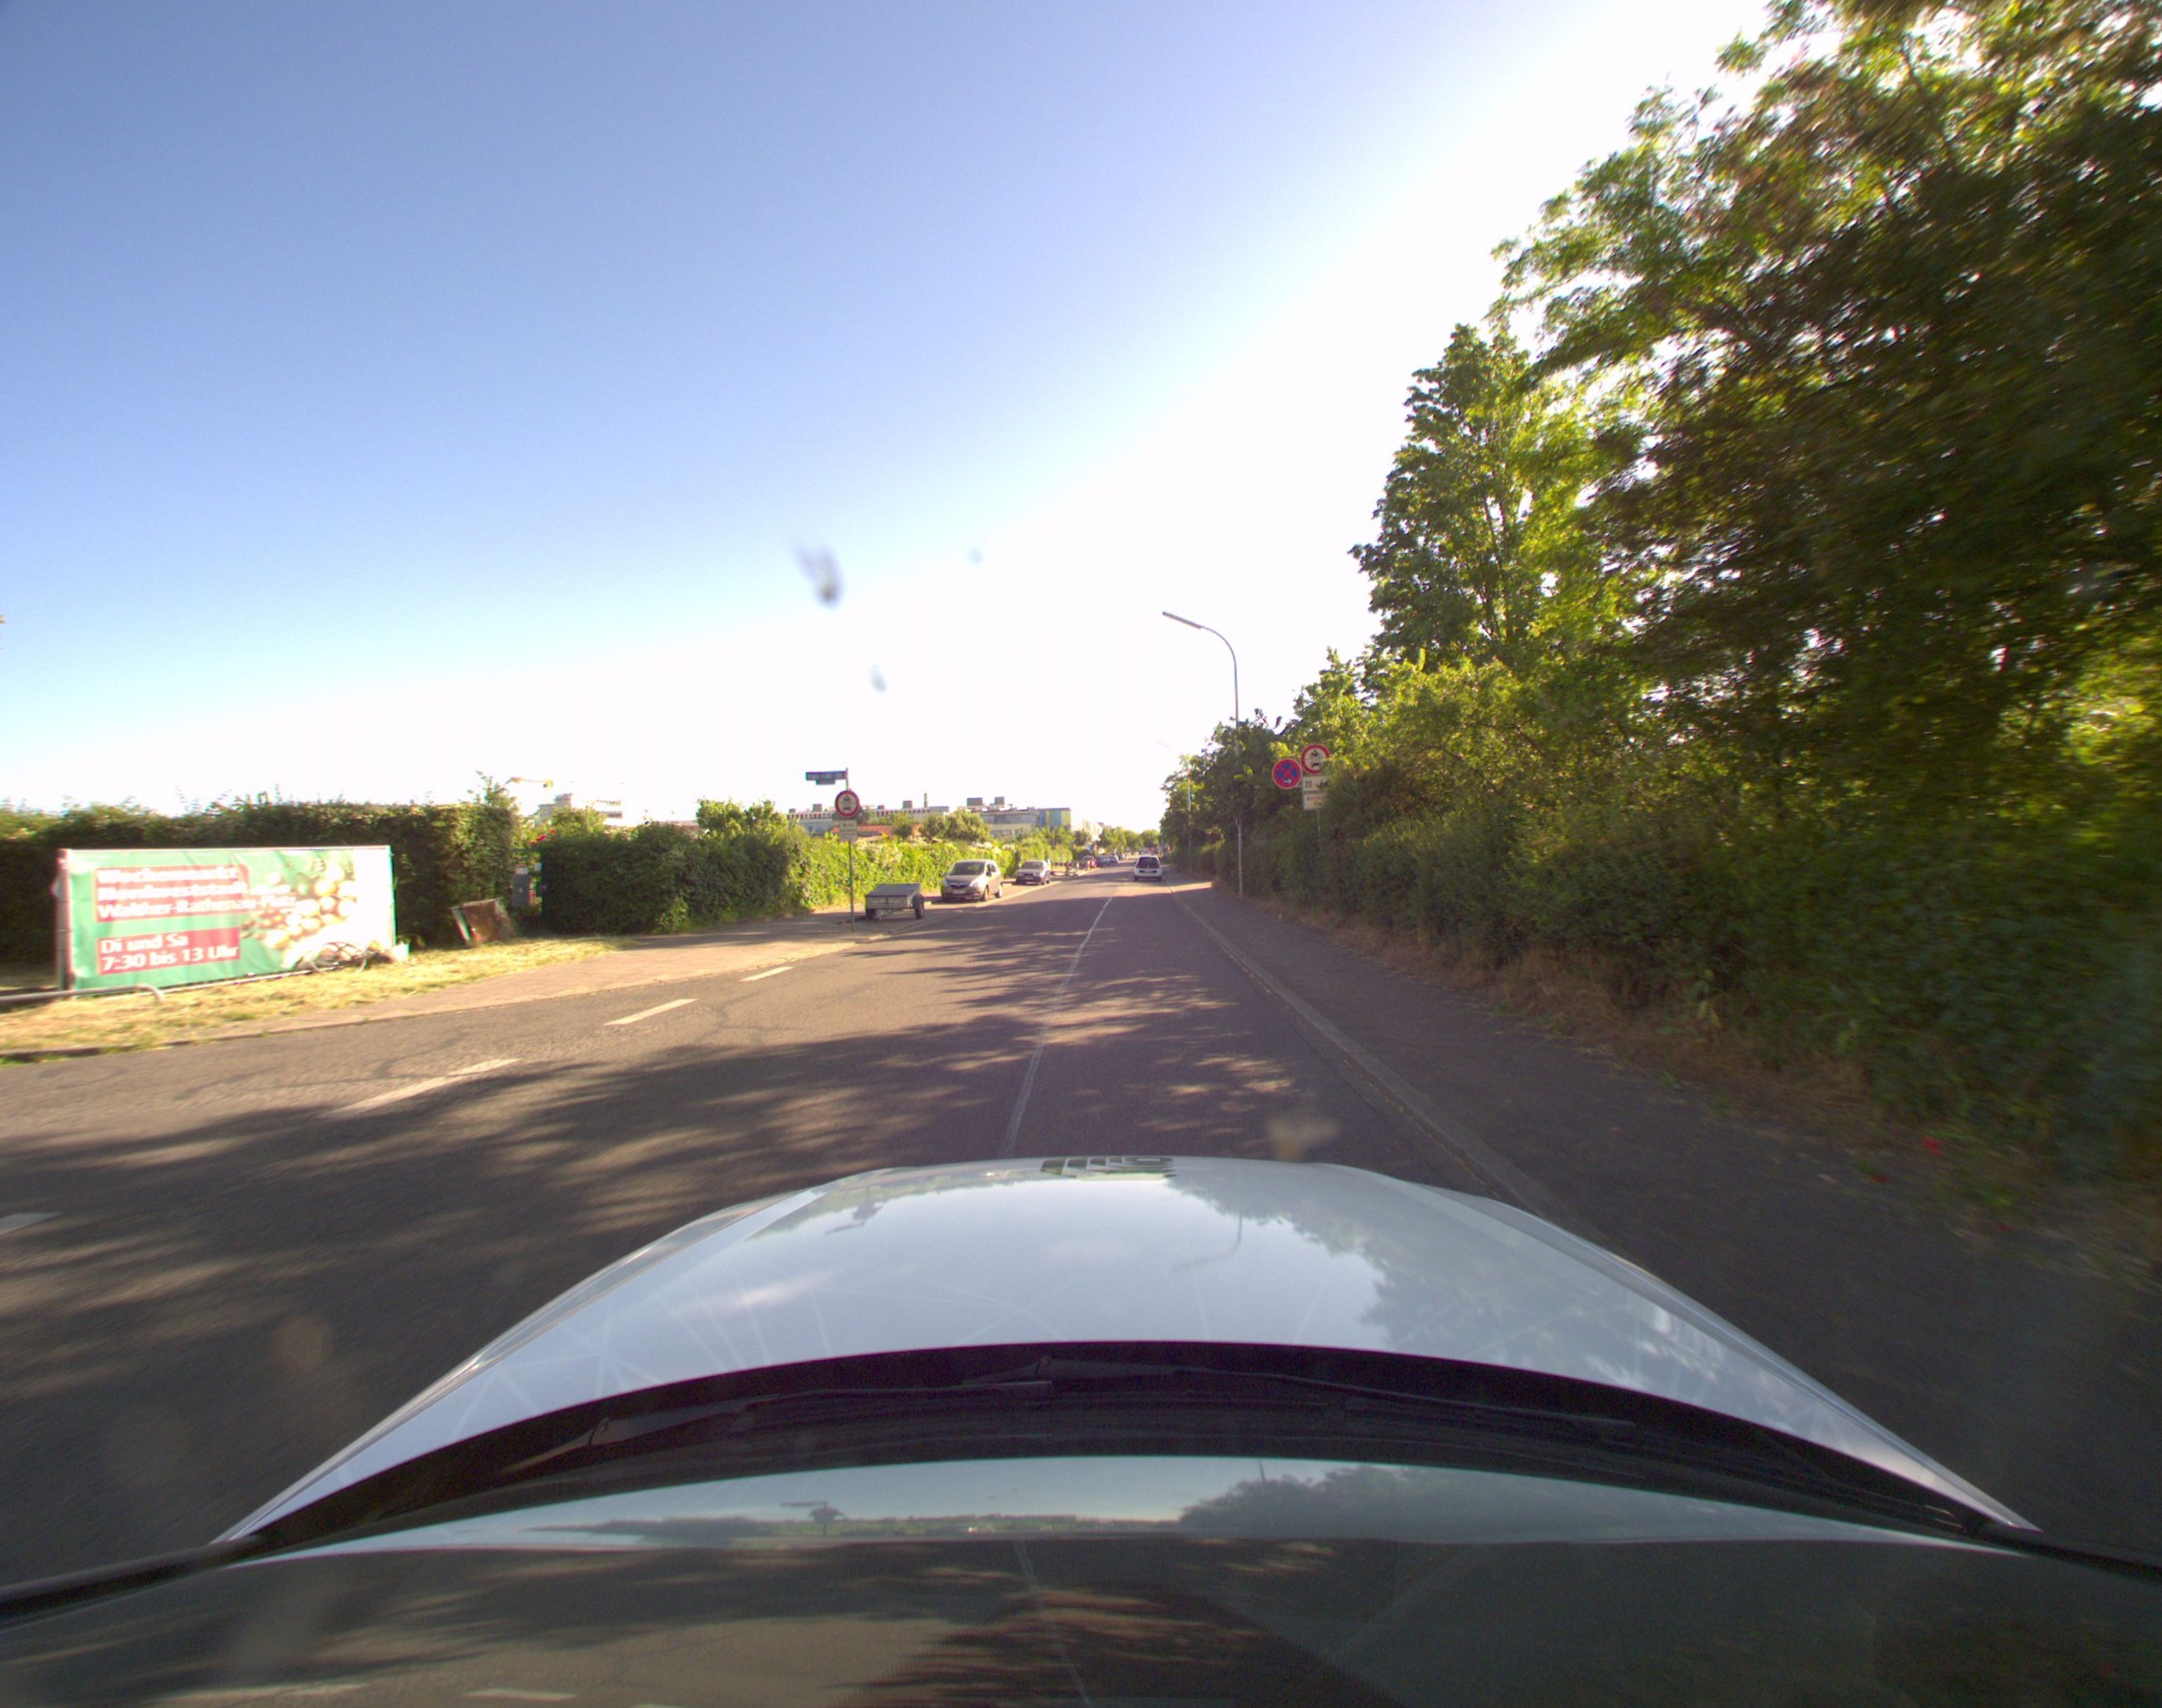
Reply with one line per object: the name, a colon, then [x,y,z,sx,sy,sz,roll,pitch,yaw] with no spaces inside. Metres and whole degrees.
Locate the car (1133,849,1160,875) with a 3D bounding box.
car: [3.974,0.470,49.291,1.548,1.538,3.560,0,0,5]

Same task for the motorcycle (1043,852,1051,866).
motorcycle: [-3.138,0.424,75.594,0.564,1.268,2.091,-1,0,1]

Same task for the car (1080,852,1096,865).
car: [0.811,0.515,96.347,1.552,1.494,3.575,-2,0,4]

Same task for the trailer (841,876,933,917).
trailer: [-5.112,1.111,21.757,1.536,0.953,2.652,0,0,7]

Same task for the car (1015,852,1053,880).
car: [-2.799,0.665,49.598,1.636,1.556,4.423,-2,0,4]

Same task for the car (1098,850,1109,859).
car: [3.619,0.077,131.578,1.552,1.494,3.763,-2,0,4]

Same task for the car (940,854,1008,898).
car: [-4.145,0.802,32.111,1.635,1.600,4.319,0,0,6]

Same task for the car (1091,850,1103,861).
car: [2.288,0.224,114.564,1.552,1.494,3.575,1,0,4]

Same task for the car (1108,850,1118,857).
car: [6.287,-0.163,160.873,1.846,1.428,4.139,0,0,4]
